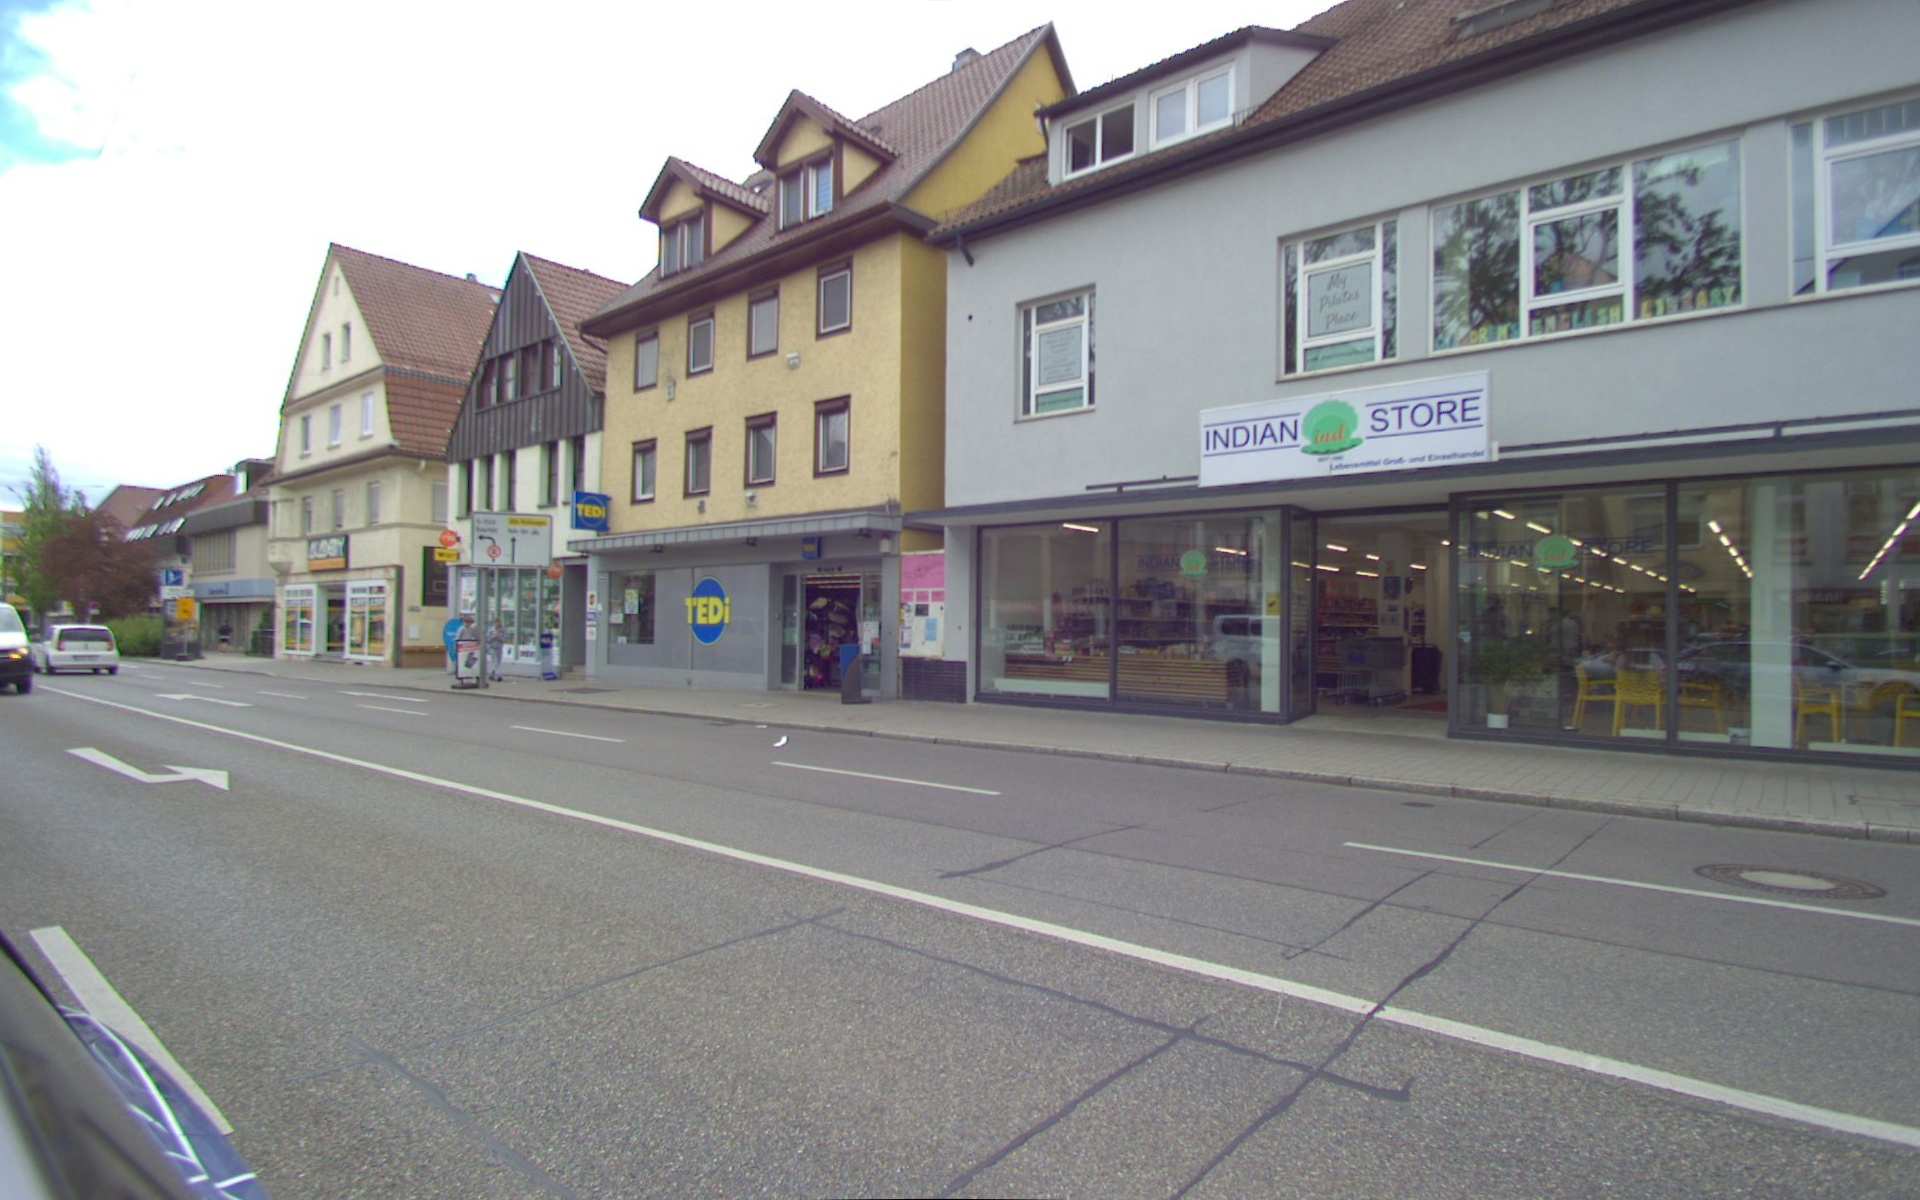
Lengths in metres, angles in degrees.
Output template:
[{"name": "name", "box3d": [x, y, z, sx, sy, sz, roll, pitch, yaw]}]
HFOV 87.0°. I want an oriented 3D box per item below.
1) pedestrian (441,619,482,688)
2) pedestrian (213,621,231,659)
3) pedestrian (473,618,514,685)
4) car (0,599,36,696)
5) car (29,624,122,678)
[{"name": "pedestrian", "box3d": [-12.500, 1.324, 25.394, 0.742, 1.703, 0.680, -2, -1, 41]}, {"name": "pedestrian", "box3d": [-37.612, 2.020, 51.571, 0.592, 1.903, 0.544, -2, -1, 37]}, {"name": "pedestrian", "box3d": [-12.099, 1.321, 26.234, 0.709, 1.683, 0.681, -2, 0, 41]}, {"name": "car", "box3d": [-21.556, 1.015, 21.880, 4.850, 1.974, 1.806, -2, -2, 41]}, {"name": "car", "box3d": [-26.312, 1.488, 30.070, 3.461, 1.500, 1.558, -2, -3, 40]}]
